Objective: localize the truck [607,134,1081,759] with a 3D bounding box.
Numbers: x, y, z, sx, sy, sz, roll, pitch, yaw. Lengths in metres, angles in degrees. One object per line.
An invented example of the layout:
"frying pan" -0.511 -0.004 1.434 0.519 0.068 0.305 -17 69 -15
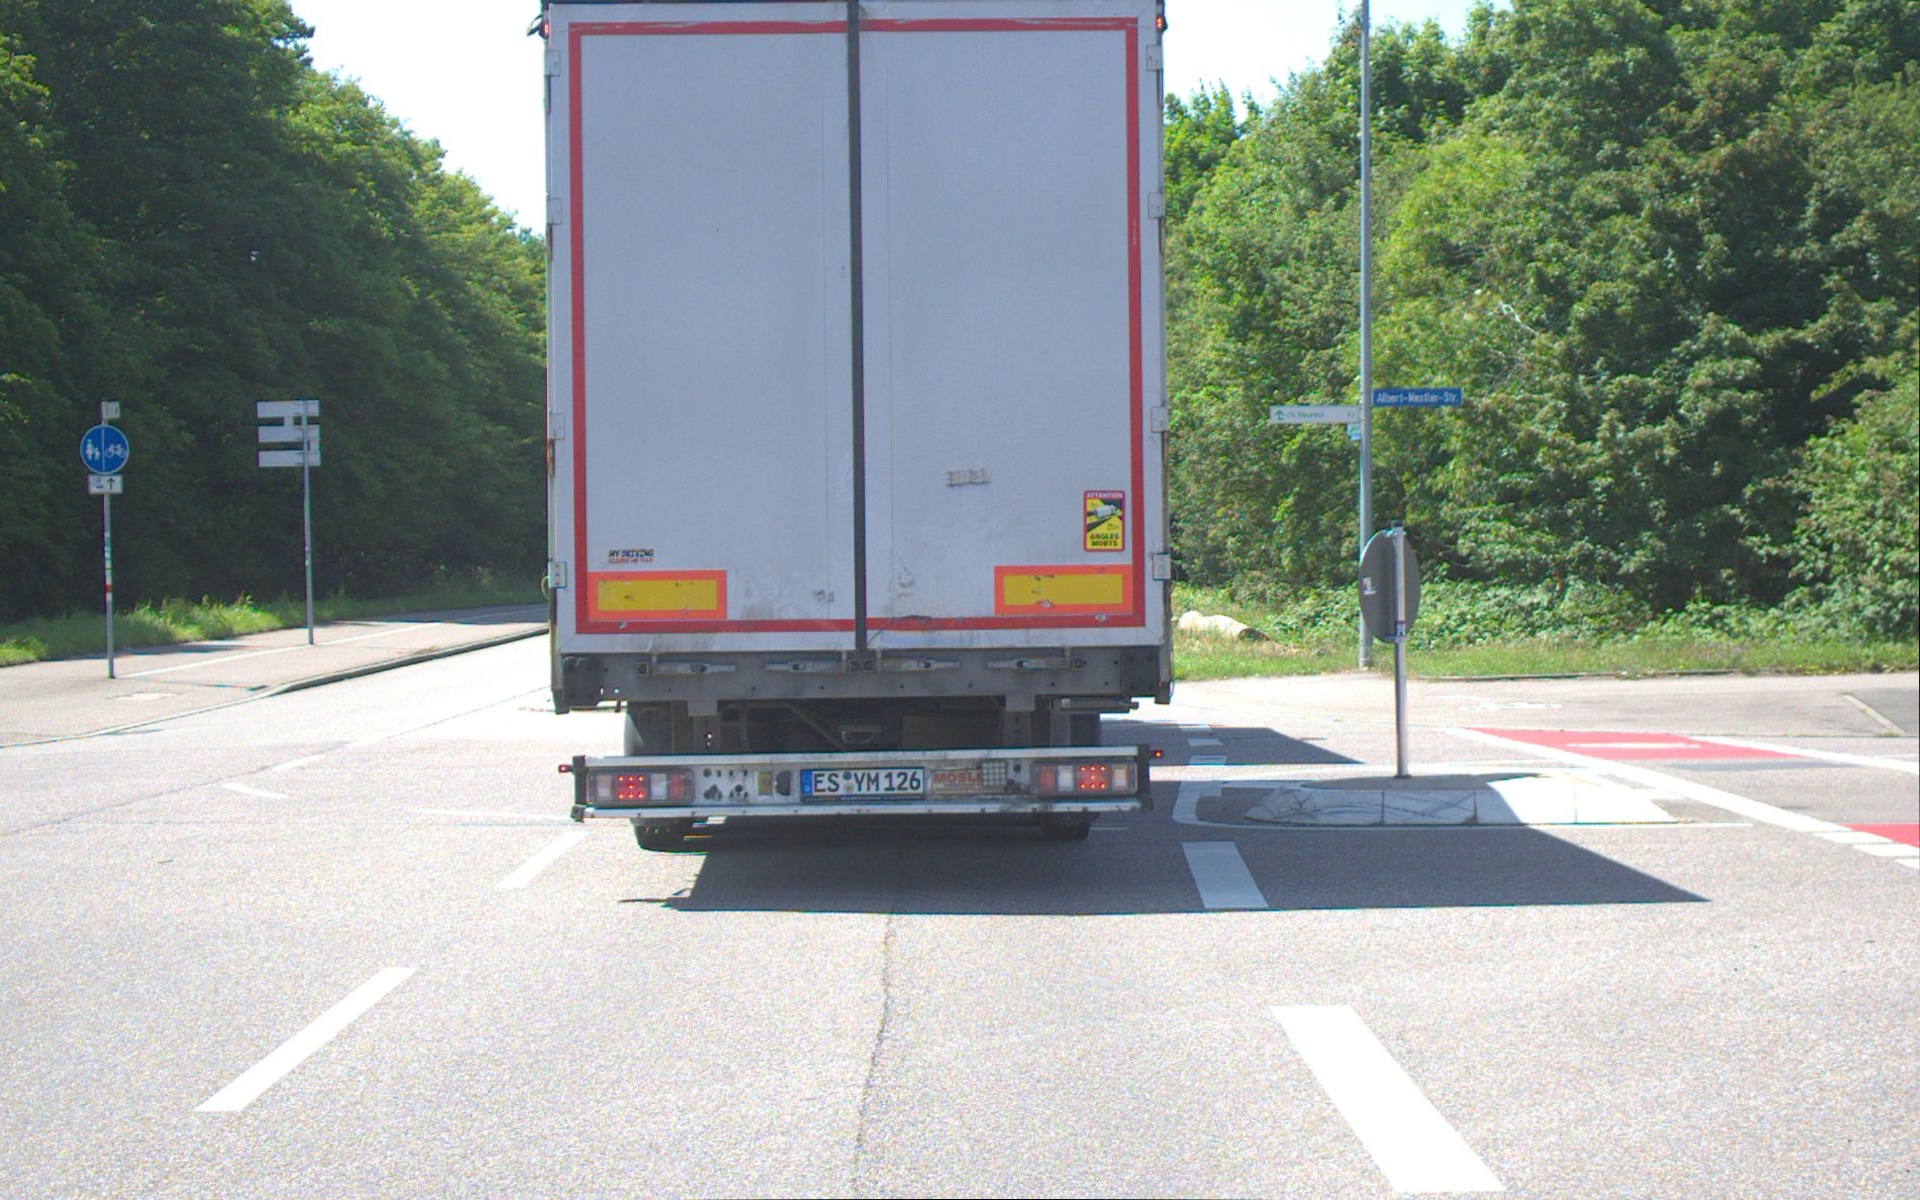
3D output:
"truck" -0.971 -1.078 26.384 3.077 4.056 7.960 0 1 -3

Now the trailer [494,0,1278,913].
"trailer" -0.550 -0.900 18.422 3.077 4.056 9.810 0 1 -3
